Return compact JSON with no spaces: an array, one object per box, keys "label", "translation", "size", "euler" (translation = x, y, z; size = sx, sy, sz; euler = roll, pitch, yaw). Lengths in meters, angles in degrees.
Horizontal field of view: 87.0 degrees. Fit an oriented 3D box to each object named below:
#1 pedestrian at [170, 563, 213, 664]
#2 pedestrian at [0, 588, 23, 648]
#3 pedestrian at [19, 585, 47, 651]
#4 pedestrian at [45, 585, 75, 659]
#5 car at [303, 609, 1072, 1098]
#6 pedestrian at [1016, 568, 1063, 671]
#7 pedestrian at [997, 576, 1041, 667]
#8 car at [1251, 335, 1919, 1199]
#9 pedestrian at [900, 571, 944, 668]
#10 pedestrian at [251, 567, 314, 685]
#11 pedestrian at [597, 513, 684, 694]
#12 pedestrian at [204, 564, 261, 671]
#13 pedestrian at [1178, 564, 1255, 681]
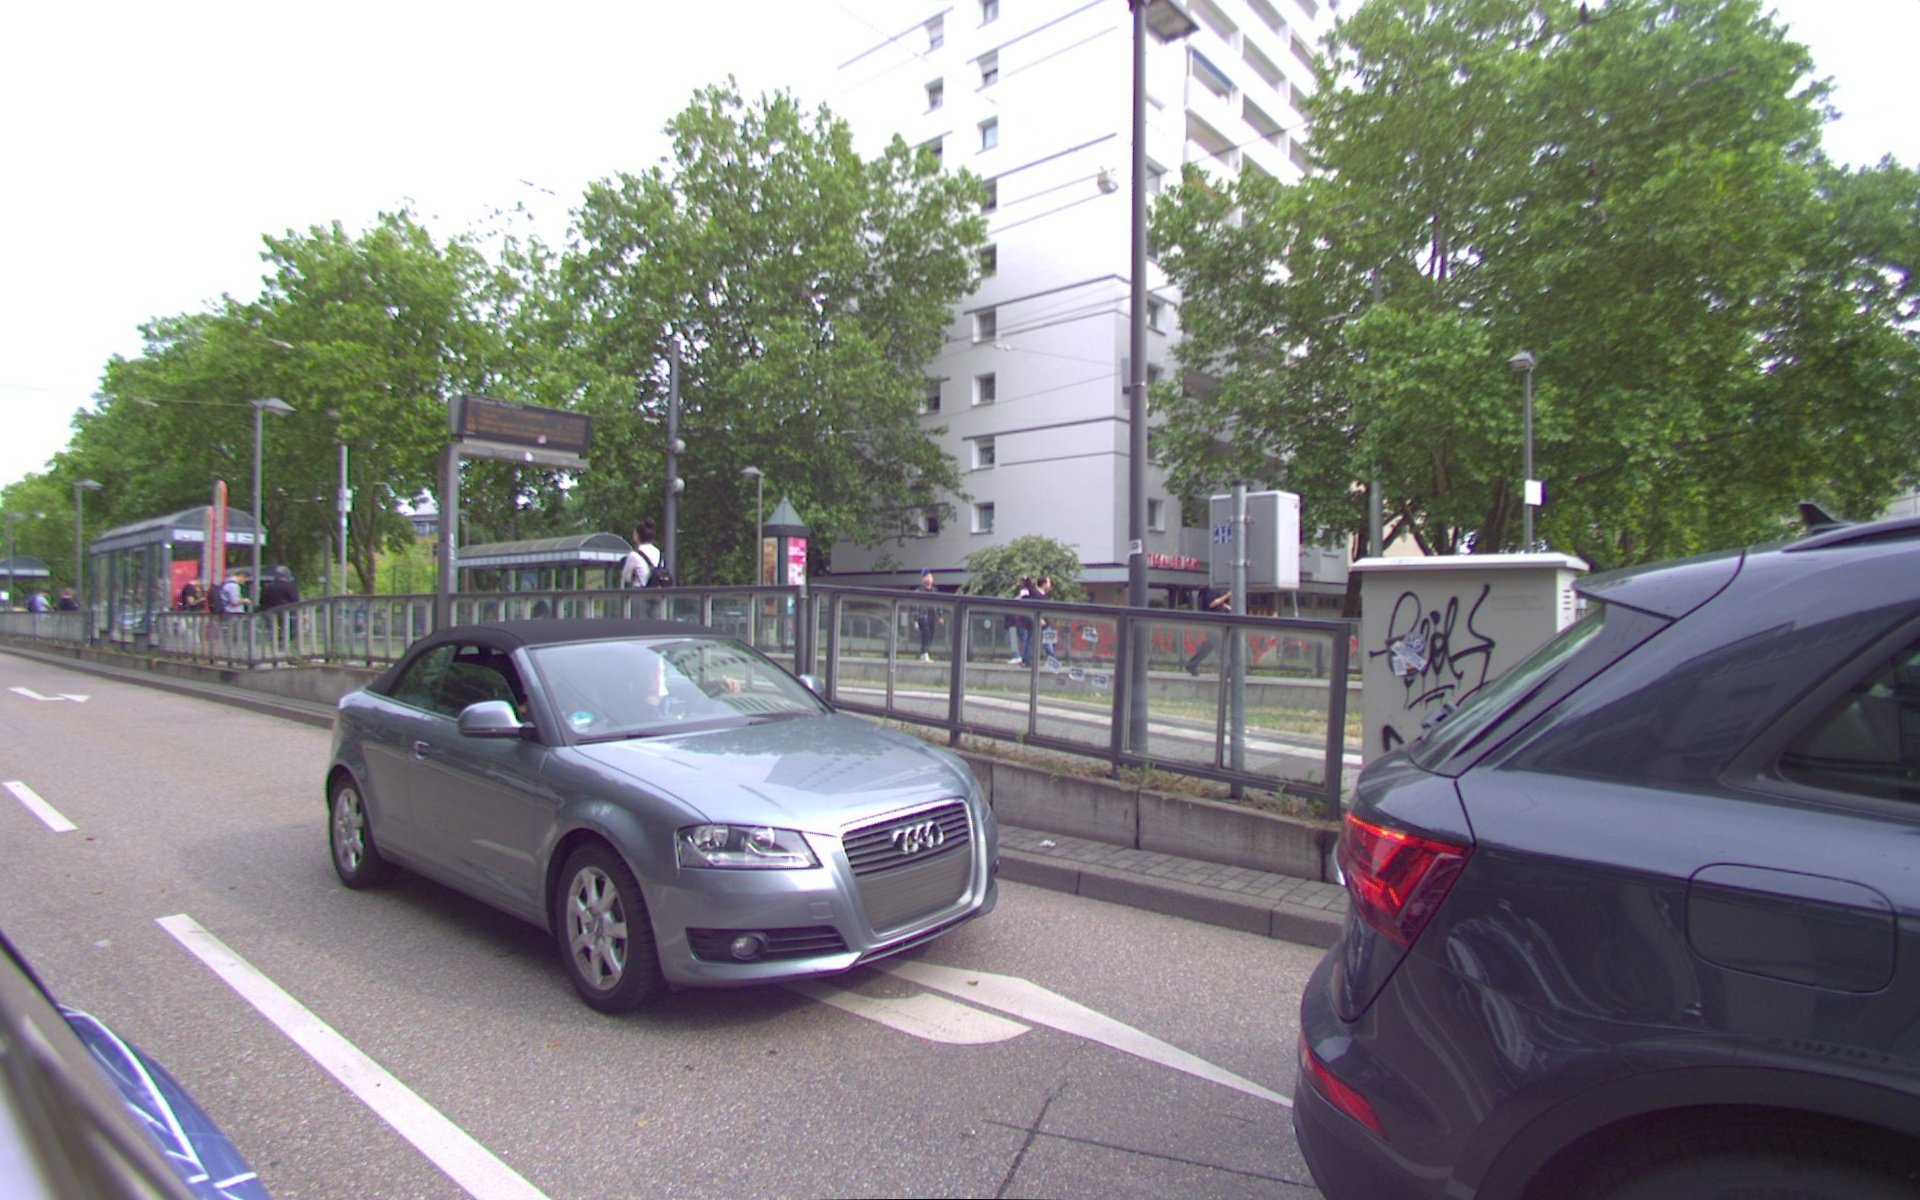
[{"label":"pedestrian","translation":[-16.066,0.278,21.158],"size":[0.821,2.066,0.577],"euler":[-1,0,44]},{"label":"pedestrian","translation":[-33.079,0.612,35.269],"size":[0.821,2.066,0.577],"euler":[-1,0,44]},{"label":"pedestrian","translation":[-29.393,0.564,32.086],"size":[0.821,2.066,0.577],"euler":[-1,0,44]},{"label":"pedestrian","translation":[-25.706,0.624,28.905],"size":[0.821,2.066,0.577],"euler":[-1,0,44]},{"label":"car","translation":[-1.578,0.754,4.856],"size":[4.012,1.385,1.616],"euler":[-1,0,41]},{"label":"pedestrian","translation":[1.393,0.332,17.666],"size":[0.548,1.764,0.614],"euler":[-1,0,41]},{"label":"pedestrian","translation":[1.113,0.399,19.108],"size":[0.565,1.681,0.614],"euler":[-1,0,41]},{"label":"car","translation":[2.755,0.502,0.990],"size":[4.366,1.660,1.892],"euler":[-1,0,41]},{"label":"pedestrian","translation":[-0.723,0.359,19.292],"size":[0.534,1.803,0.614],"euler":[-1,0,41]},{"label":"pedestrian","translation":[-10.567,0.397,15.800],"size":[0.652,1.805,0.535],"euler":[-1,0,-9]},{"label":"pedestrian","translation":[-3.256,0.035,10.321],"size":[0.534,1.764,0.654],"euler":[-1,0,41]},{"label":"pedestrian","translation":[-12.719,0.294,17.688],"size":[0.821,1.805,0.674],"euler":[-1,0,44]},{"label":"pedestrian","translation":[3.864,0.328,15.248],"size":[0.878,1.708,0.733],"euler":[-1,0,42]}]
